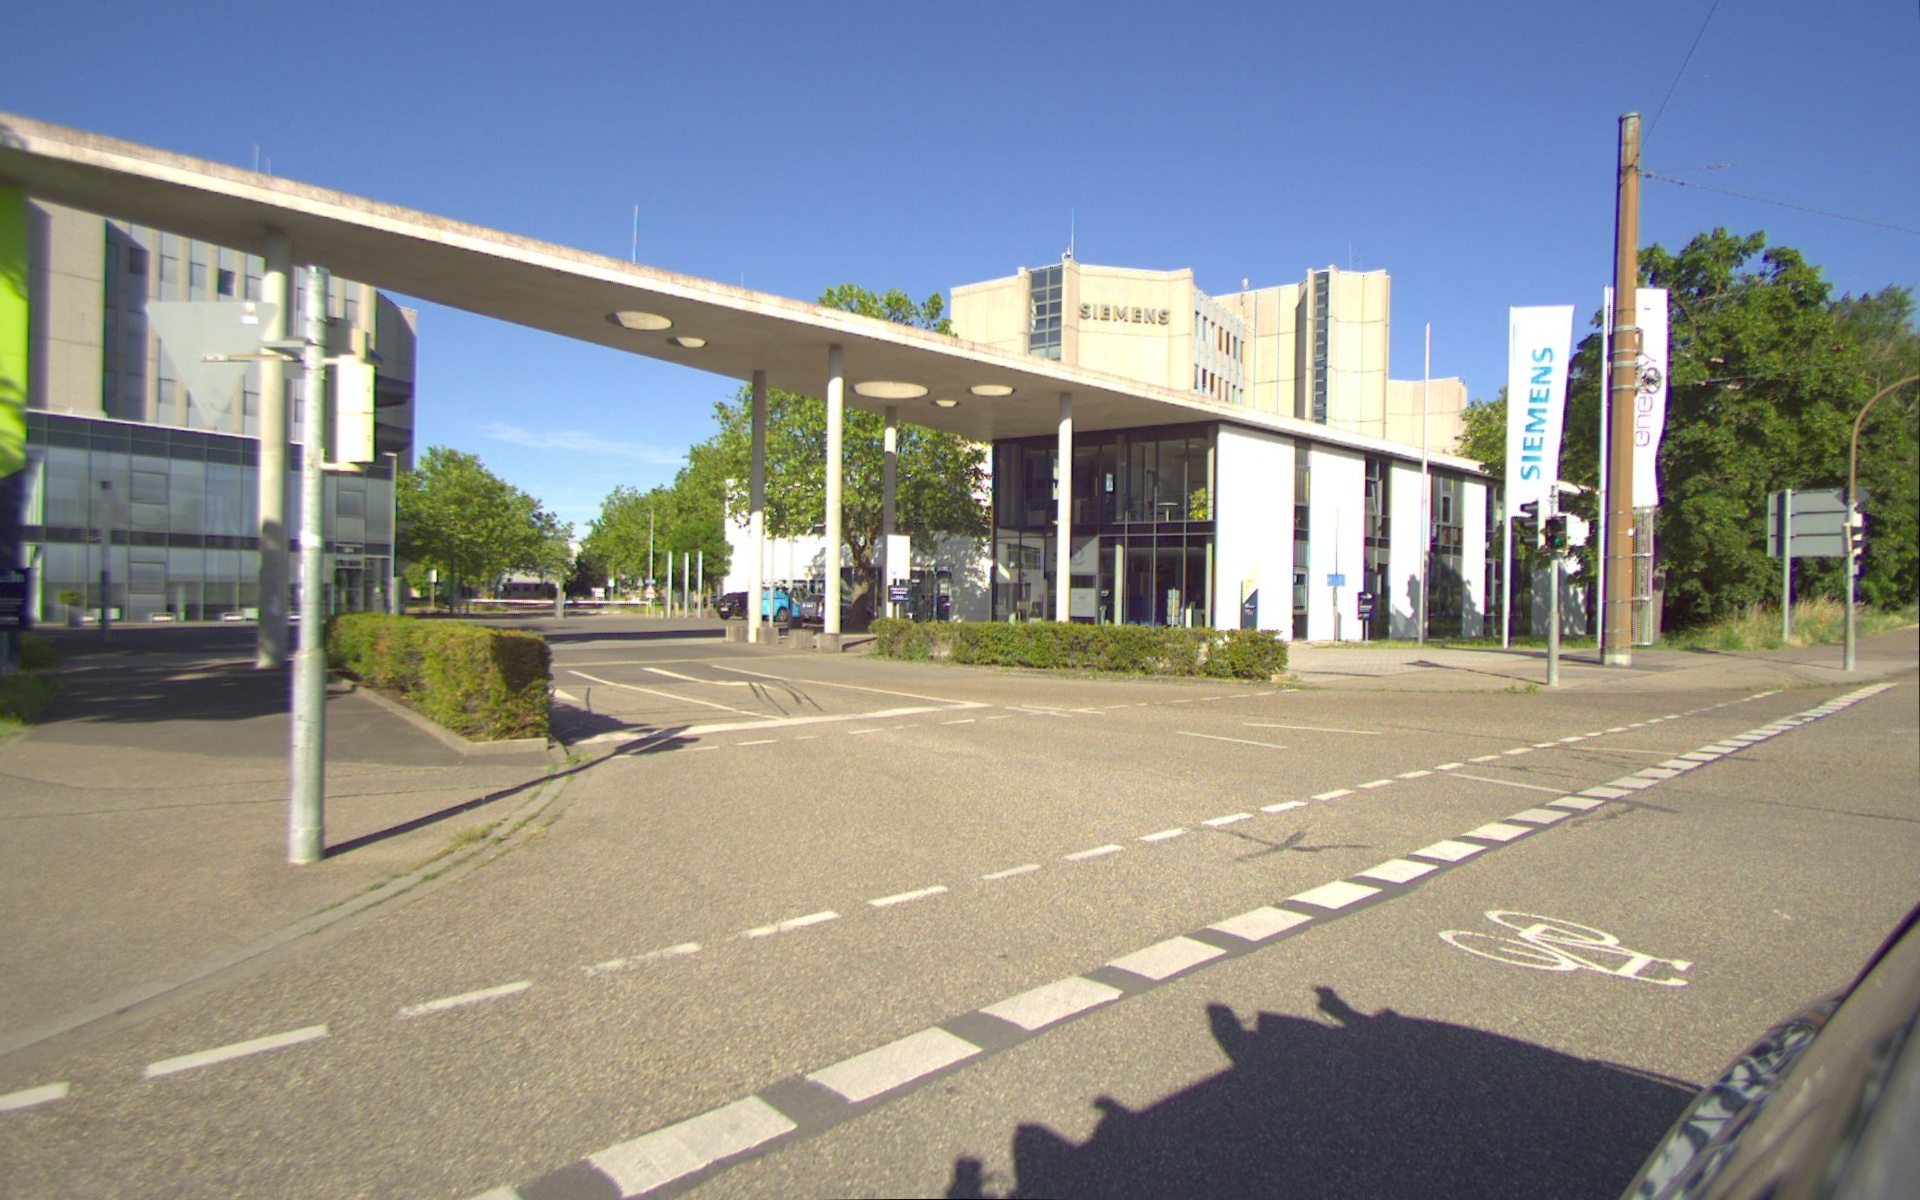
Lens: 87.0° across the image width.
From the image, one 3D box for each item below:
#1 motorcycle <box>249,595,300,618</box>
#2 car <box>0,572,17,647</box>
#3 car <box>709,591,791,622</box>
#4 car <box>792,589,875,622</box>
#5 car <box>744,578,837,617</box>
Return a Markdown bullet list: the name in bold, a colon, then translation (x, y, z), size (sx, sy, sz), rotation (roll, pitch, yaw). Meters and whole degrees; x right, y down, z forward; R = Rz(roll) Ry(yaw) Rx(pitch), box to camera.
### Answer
- **motorcycle**: translation (-29.959, 0.285, 44.254), size (0.649, 0.959, 1.712), rotation (1, 1, 36)
- **car**: translation (-22.317, 0.193, 22.296), size (3.984, 1.598, 1.924), rotation (1, 1, 42)
- **car**: translation (-10.537, 0.308, 51.020), size (1.767, 1.462, 3.951), rotation (1, 1, 34)
- **car**: translation (-5.939, 0.240, 48.037), size (1.767, 1.462, 3.951), rotation (1, 1, 34)
- **car**: translation (-8.217, -0.139, 49.450), size (1.767, 1.819, 4.667), rotation (1, 1, 34)
